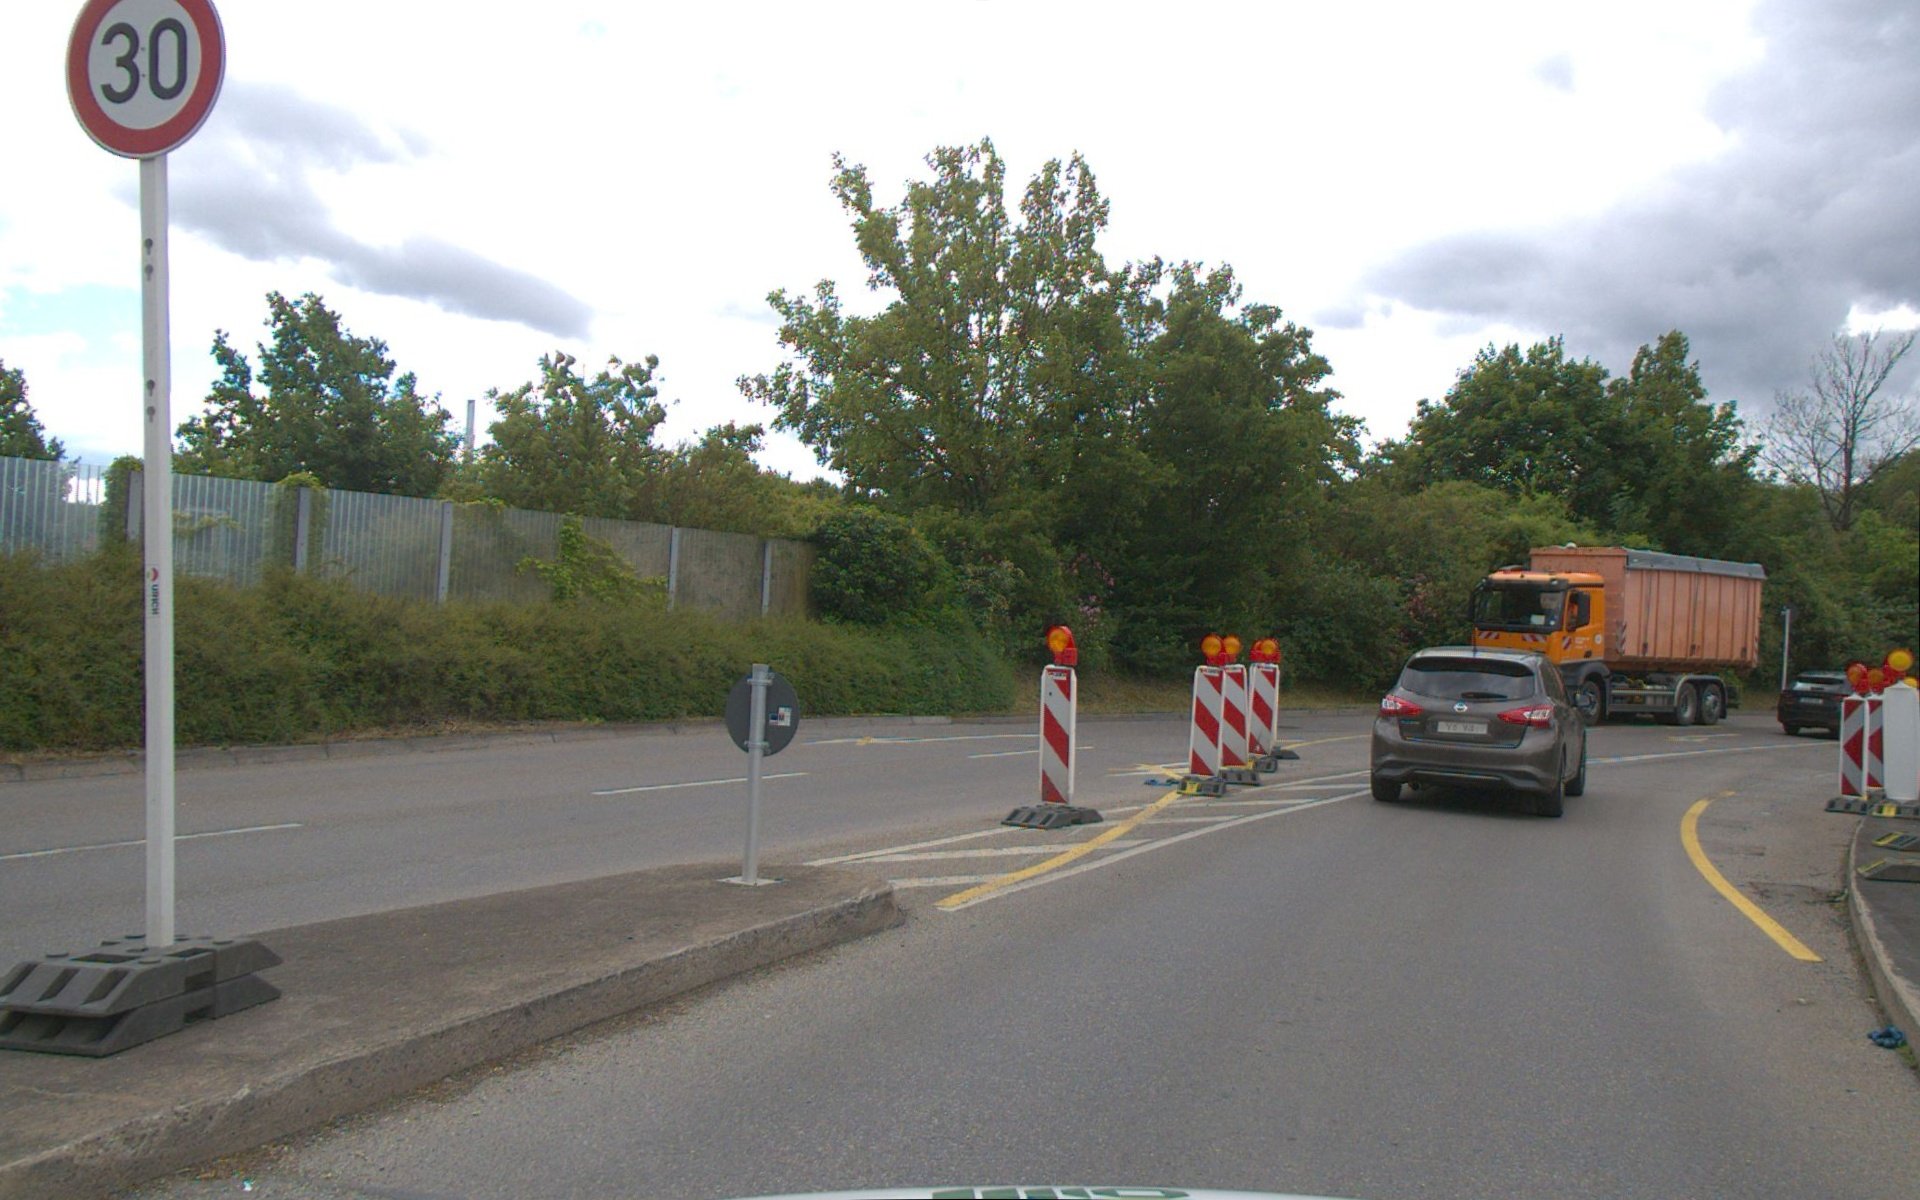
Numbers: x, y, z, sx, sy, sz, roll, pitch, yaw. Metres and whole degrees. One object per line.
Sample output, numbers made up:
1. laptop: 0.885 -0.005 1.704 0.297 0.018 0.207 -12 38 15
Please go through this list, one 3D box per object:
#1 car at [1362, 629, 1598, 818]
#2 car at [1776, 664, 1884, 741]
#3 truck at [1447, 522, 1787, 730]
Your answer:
1. car: 5.379 1.181 16.775 1.762 1.579 3.997 3 -1 24
2. car: 20.117 2.320 38.182 1.788 1.579 3.776 2 -1 34
3. truck: 15.520 0.746 38.557 9.698 4.295 3.076 3 -2 -40
